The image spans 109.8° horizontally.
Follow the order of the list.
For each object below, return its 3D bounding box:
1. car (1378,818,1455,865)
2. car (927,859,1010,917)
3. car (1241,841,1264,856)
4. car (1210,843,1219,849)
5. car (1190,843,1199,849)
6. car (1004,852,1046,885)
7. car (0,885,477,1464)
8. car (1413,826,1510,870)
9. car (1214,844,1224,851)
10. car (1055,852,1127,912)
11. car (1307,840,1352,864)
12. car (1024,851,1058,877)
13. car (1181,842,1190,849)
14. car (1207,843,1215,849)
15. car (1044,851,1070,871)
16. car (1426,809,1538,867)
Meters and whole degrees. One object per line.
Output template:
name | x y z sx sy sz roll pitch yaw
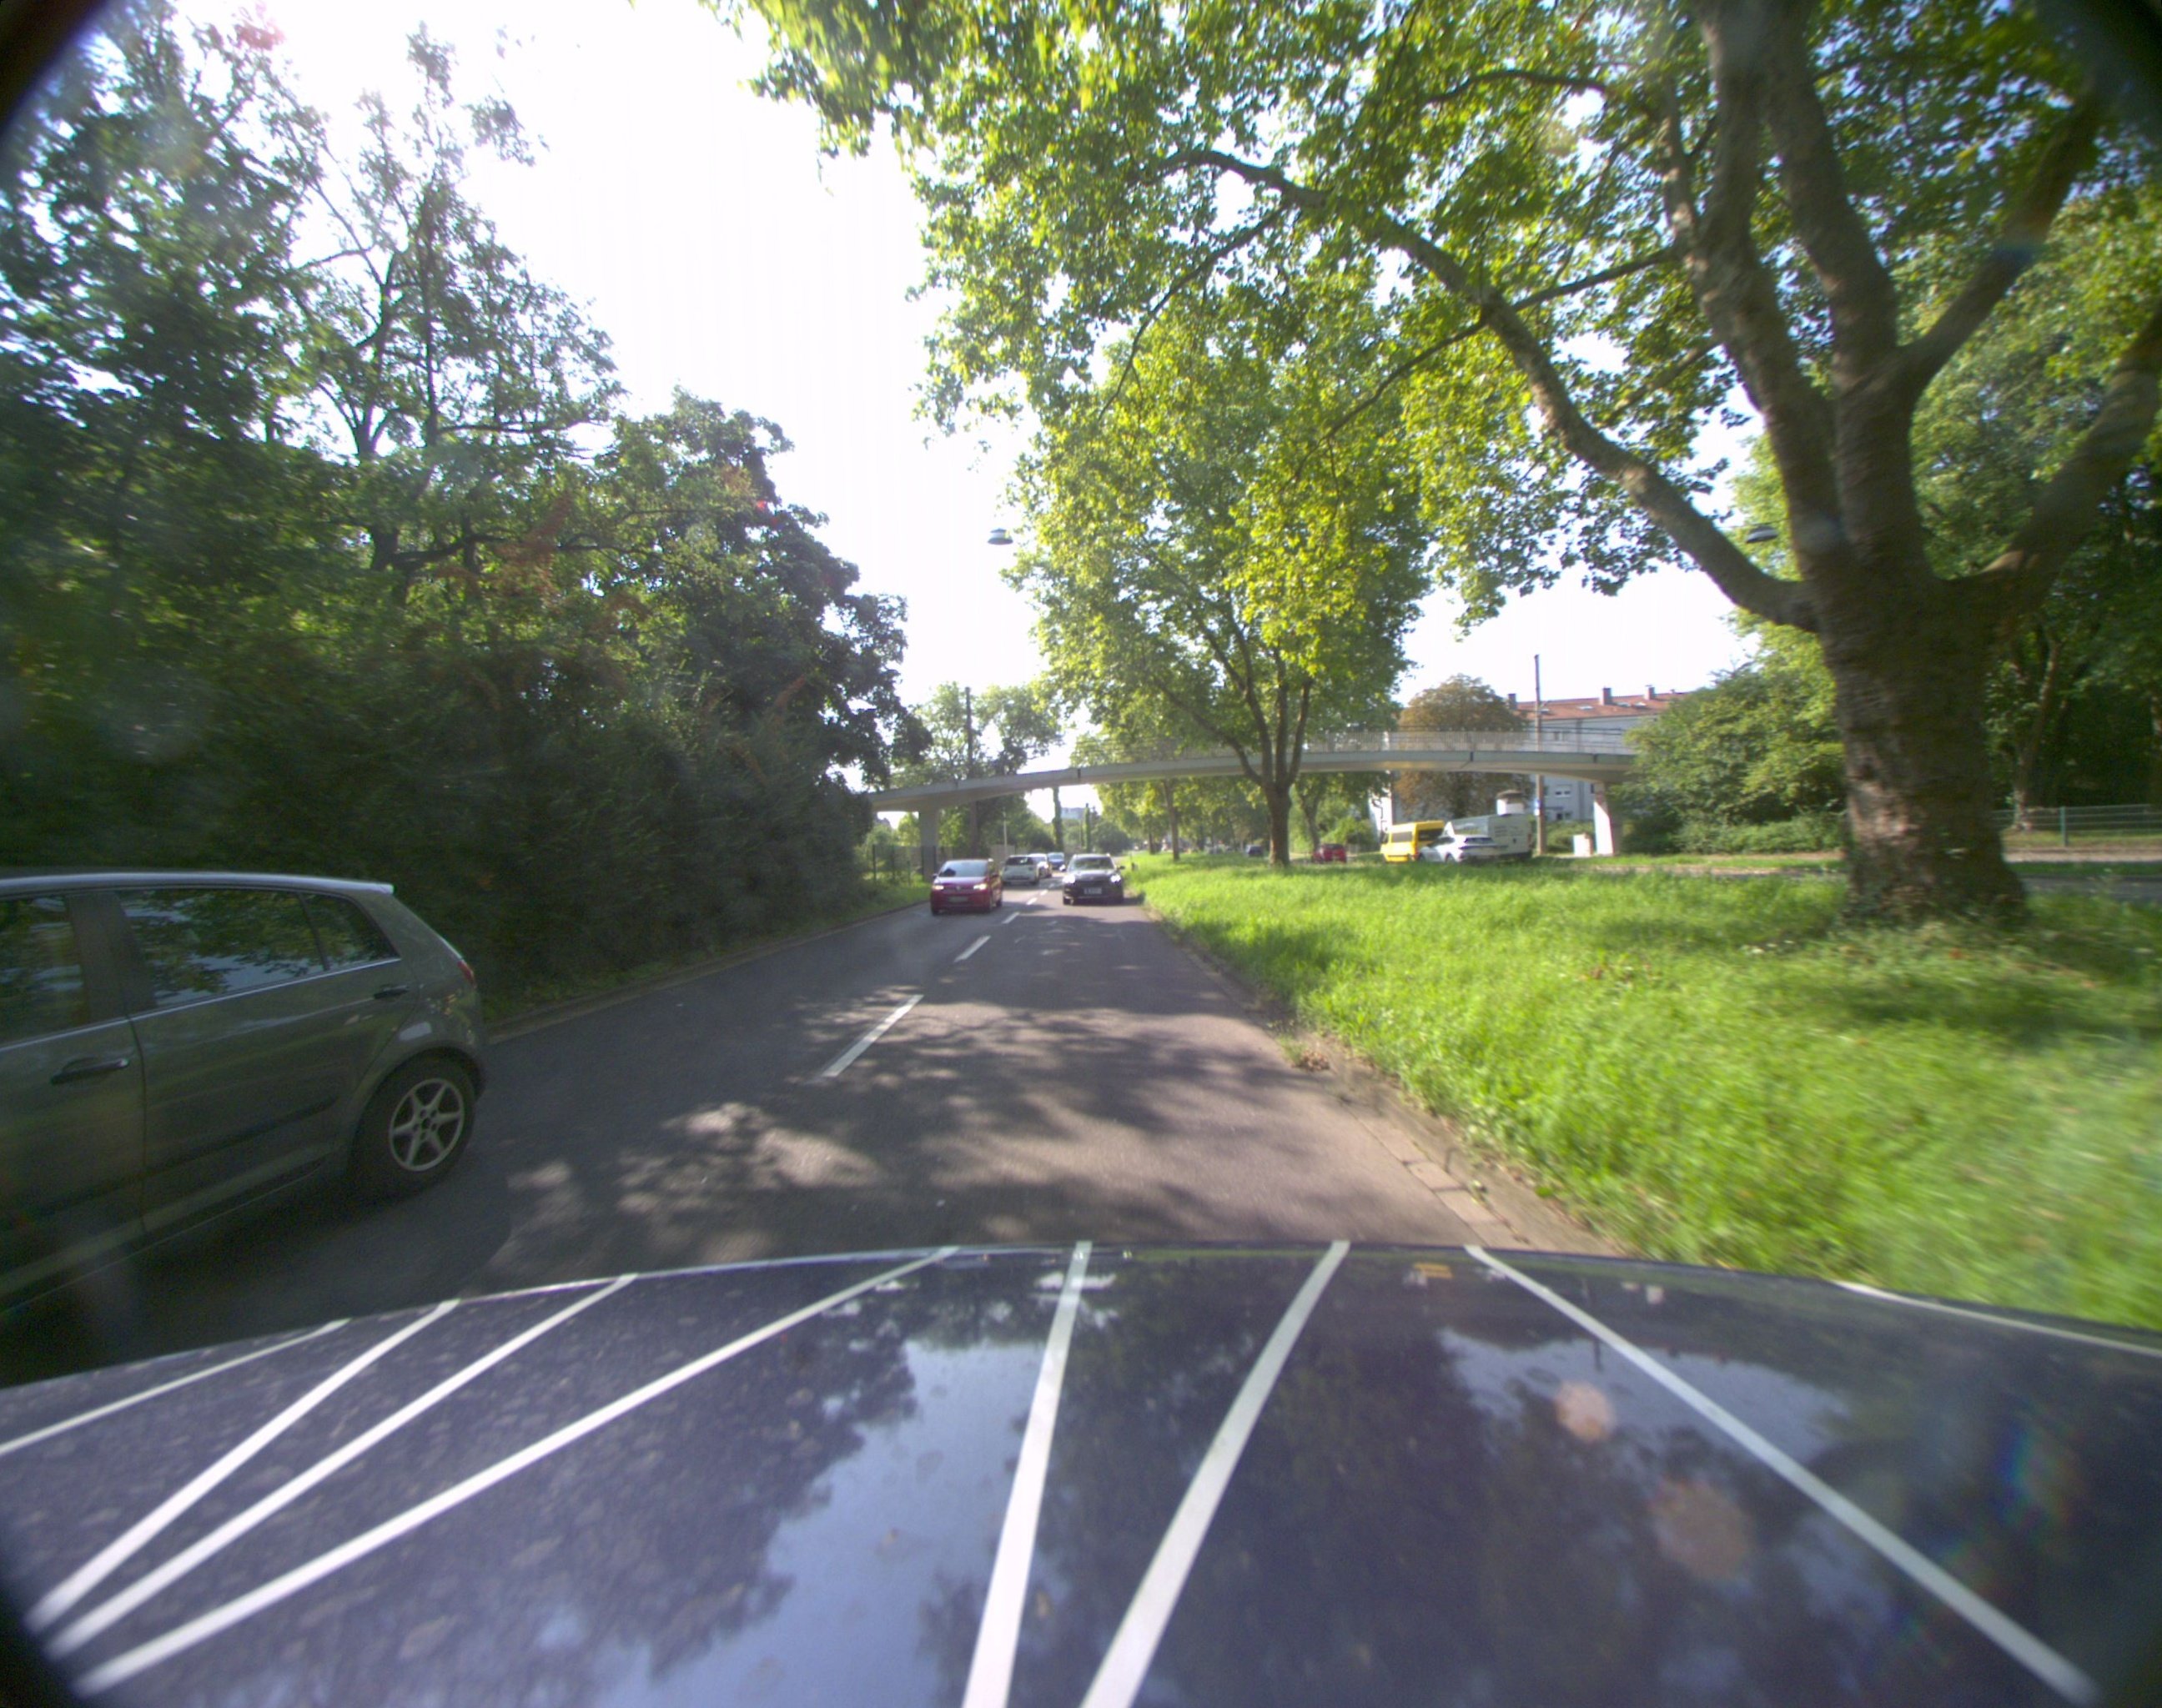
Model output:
car | 19.915 -0.760 45.437 2.213 2.465 6.061 -3 1 4
car | -3.117 0.908 21.664 1.578 1.391 3.472 -1 1 4
car | 19.168 -0.648 85.061 1.791 1.524 4.456 -3 1 3
car | 29.194 -1.743 165.777 1.612 1.284 3.523 -3 1 6
car | 27.719 -1.846 185.377 1.649 1.356 3.899 -3 0 3
car | -2.825 0.704 39.280 1.649 1.467 3.899 -3 1 3
car | -3.925 1.002 1.882 1.649 1.548 3.898 -3 1 0
car | 16.162 -0.254 32.576 1.806 1.710 4.719 -2 0 0
car | 28.079 -1.422 154.458 1.612 1.284 3.523 -3 1 6
car | 0.374 0.770 22.460 1.862 1.572 3.613 -2 0 4
car | 17.339 -0.138 53.240 1.695 1.524 4.068 -3 1 -1
car | -2.534 0.604 48.554 1.649 1.467 3.899 -3 1 4
car | 25.905 -2.014 187.780 1.779 1.607 4.857 -3 1 4
car | 29.295 -1.819 170.986 1.612 1.398 3.524 -2 1 6
car | -1.898 0.548 61.733 1.649 1.378 3.899 -3 1 4
car | 19.543 -0.764 37.495 2.213 2.416 6.265 -5 1 2
